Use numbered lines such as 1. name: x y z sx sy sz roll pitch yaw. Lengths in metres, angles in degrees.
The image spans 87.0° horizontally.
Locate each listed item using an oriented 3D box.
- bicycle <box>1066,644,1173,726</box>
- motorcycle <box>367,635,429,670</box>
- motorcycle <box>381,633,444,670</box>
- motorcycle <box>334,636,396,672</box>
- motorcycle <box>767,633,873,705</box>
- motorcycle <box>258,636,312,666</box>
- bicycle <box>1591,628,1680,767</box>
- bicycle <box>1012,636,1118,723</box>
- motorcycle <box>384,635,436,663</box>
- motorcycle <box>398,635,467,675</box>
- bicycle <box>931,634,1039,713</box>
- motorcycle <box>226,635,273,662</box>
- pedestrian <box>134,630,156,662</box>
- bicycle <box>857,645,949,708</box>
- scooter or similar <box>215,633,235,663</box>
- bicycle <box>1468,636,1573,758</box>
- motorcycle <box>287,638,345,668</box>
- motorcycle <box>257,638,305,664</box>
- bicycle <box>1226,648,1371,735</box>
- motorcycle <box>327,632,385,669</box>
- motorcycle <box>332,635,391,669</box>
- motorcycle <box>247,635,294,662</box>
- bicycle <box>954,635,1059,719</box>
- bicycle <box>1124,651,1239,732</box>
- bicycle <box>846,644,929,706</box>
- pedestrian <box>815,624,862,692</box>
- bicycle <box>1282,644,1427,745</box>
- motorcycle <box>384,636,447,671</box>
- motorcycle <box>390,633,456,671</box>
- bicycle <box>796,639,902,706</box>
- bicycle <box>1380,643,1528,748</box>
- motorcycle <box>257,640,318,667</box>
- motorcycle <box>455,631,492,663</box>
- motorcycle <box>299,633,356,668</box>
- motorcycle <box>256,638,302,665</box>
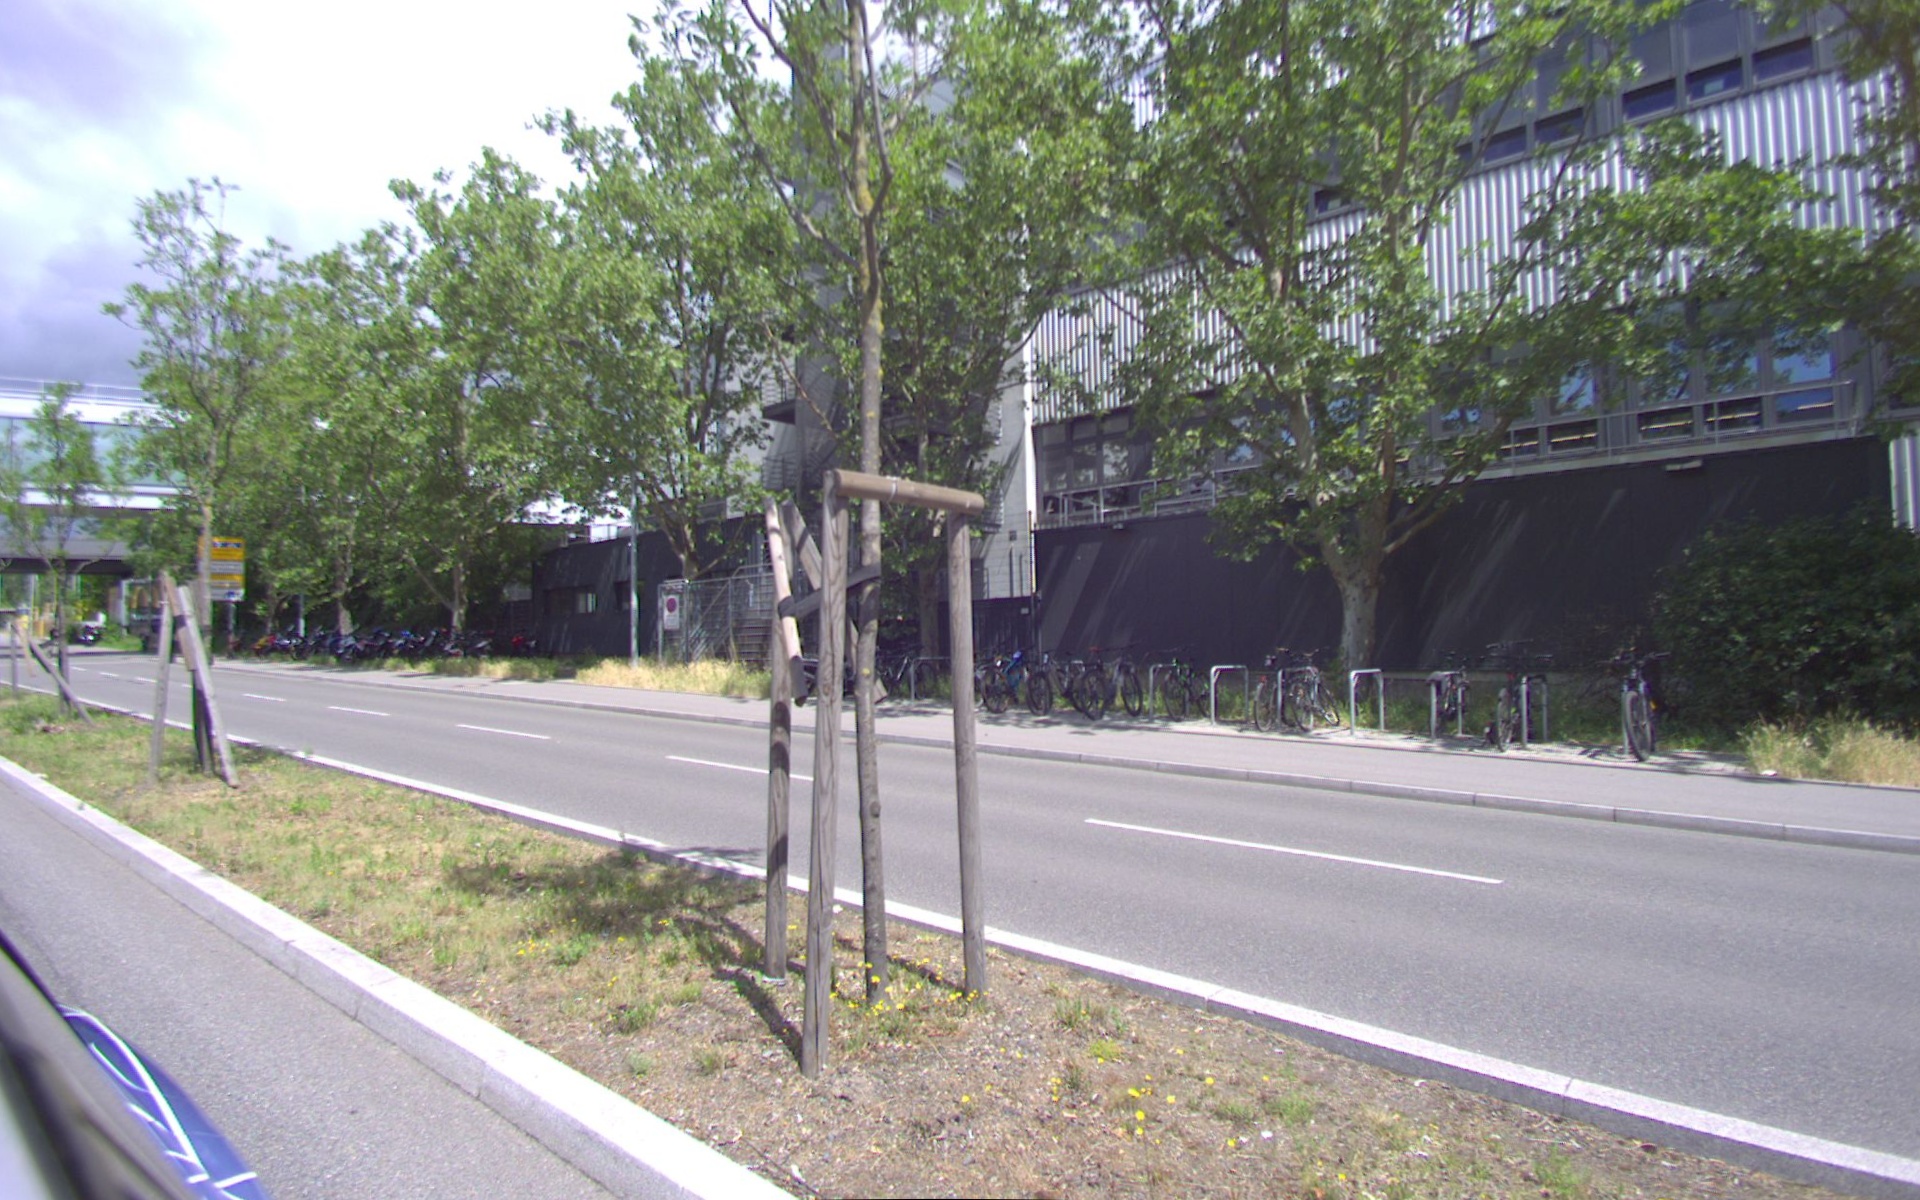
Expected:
1. bicycle: 2.520 1.285 15.824 0.805 1.131 1.899 -2 -1 39
2. motorcycle: -20.825 1.941 37.494 0.698 1.188 1.857 -4 -1 44
3. motorcycle: -19.977 1.881 36.940 0.655 1.219 1.857 -4 -1 44
4. motorcycle: -22.241 2.005 37.843 1.855 1.188 0.816 -2 -1 -41
5. motorcycle: -2.771 1.336 20.183 0.805 1.319 2.113 -2 -1 38
6. motorcycle: -29.309 2.219 43.959 0.849 1.188 1.735 -3 -1 29
7. bicycle: 7.551 1.018 11.264 0.489 1.374 2.144 -2 -2 42
8. bicycle: 1.729 1.249 16.449 0.805 1.292 1.899 -1 -1 39
9. motorcycle: -24.406 2.150 44.925 1.904 1.124 0.924 -3 -1 -23
10. motorcycle: -17.365 1.799 33.315 1.854 1.182 0.746 -2 -1 -40
11. bicycle: 0.480 1.277 18.210 0.805 1.292 2.113 -2 -1 38
12. motorcycle: -33.704 2.292 48.037 1.721 1.180 0.777 -2 -1 -42
13. pedestrian: -43.706 2.453 54.271 0.812 1.624 0.760 -1 1 39
14. bicycle: -1.059 1.420 19.263 0.497 1.070 2.060 -2 -1 38
15. scooter or similar: -32.086 2.092 44.151 1.478 1.245 0.350 -1 0 40
16. bicycle: 6.725 1.092 12.081 0.555 1.267 2.378 -2 -2 42
17. motorcycle: -26.955 2.207 42.386 1.904 1.124 0.924 -3 -1 -23
18. motorcycle: -30.028 2.245 44.774 0.776 1.041 1.574 -4 -1 41
19. bicycle: 4.806 1.246 14.265 2.532 1.104 0.697 2 -3 -40
20. motorcycle: -23.837 1.981 39.964 1.905 1.354 0.867 -3 -1 -29
21. motorcycle: -22.959 1.995 38.819 1.853 1.188 0.816 -2 -1 -37
22. motorcycle: -31.747 2.225 46.623 0.773 1.131 1.579 -4 -1 31
23. bicycle: 0.807 1.258 17.141 0.805 1.292 1.899 -2 -1 39
24. bicycle: 3.454 1.347 15.526 0.848 1.014 2.814 -2 -1 31
25. bicycle: -1.380 1.430 19.610 0.422 1.083 1.905 -2 -1 38
26. pedestrian: -2.873 1.357 23.890 0.744 1.563 0.822 0 -2 -40
27. bicycle: 5.325 1.210 13.554 2.532 1.166 0.645 0 -1 -40
28. motorcycle: -19.350 1.899 35.983 1.853 1.093 0.796 -2 -1 -34
29. motorcycle: -18.593 1.799 35.051 1.855 1.195 0.731 -2 0 -41
30. bicycle: -2.146 1.385 19.861 0.805 1.189 2.113 -2 -1 38
31. bicycle: 6.450 1.187 13.145 2.532 1.166 0.727 0 -1 -40
32. motorcycle: -28.528 2.277 42.988 0.917 1.124 1.919 0 -3 29
33. motorcycle: -19.335 1.865 40.206 0.645 1.219 1.984 -2 -1 -45
34. motorcycle: -25.904 2.057 41.505 1.905 1.300 0.895 -3 -1 -29
35. motorcycle: -30.869 2.332 45.867 0.776 1.131 1.574 -4 -1 41
